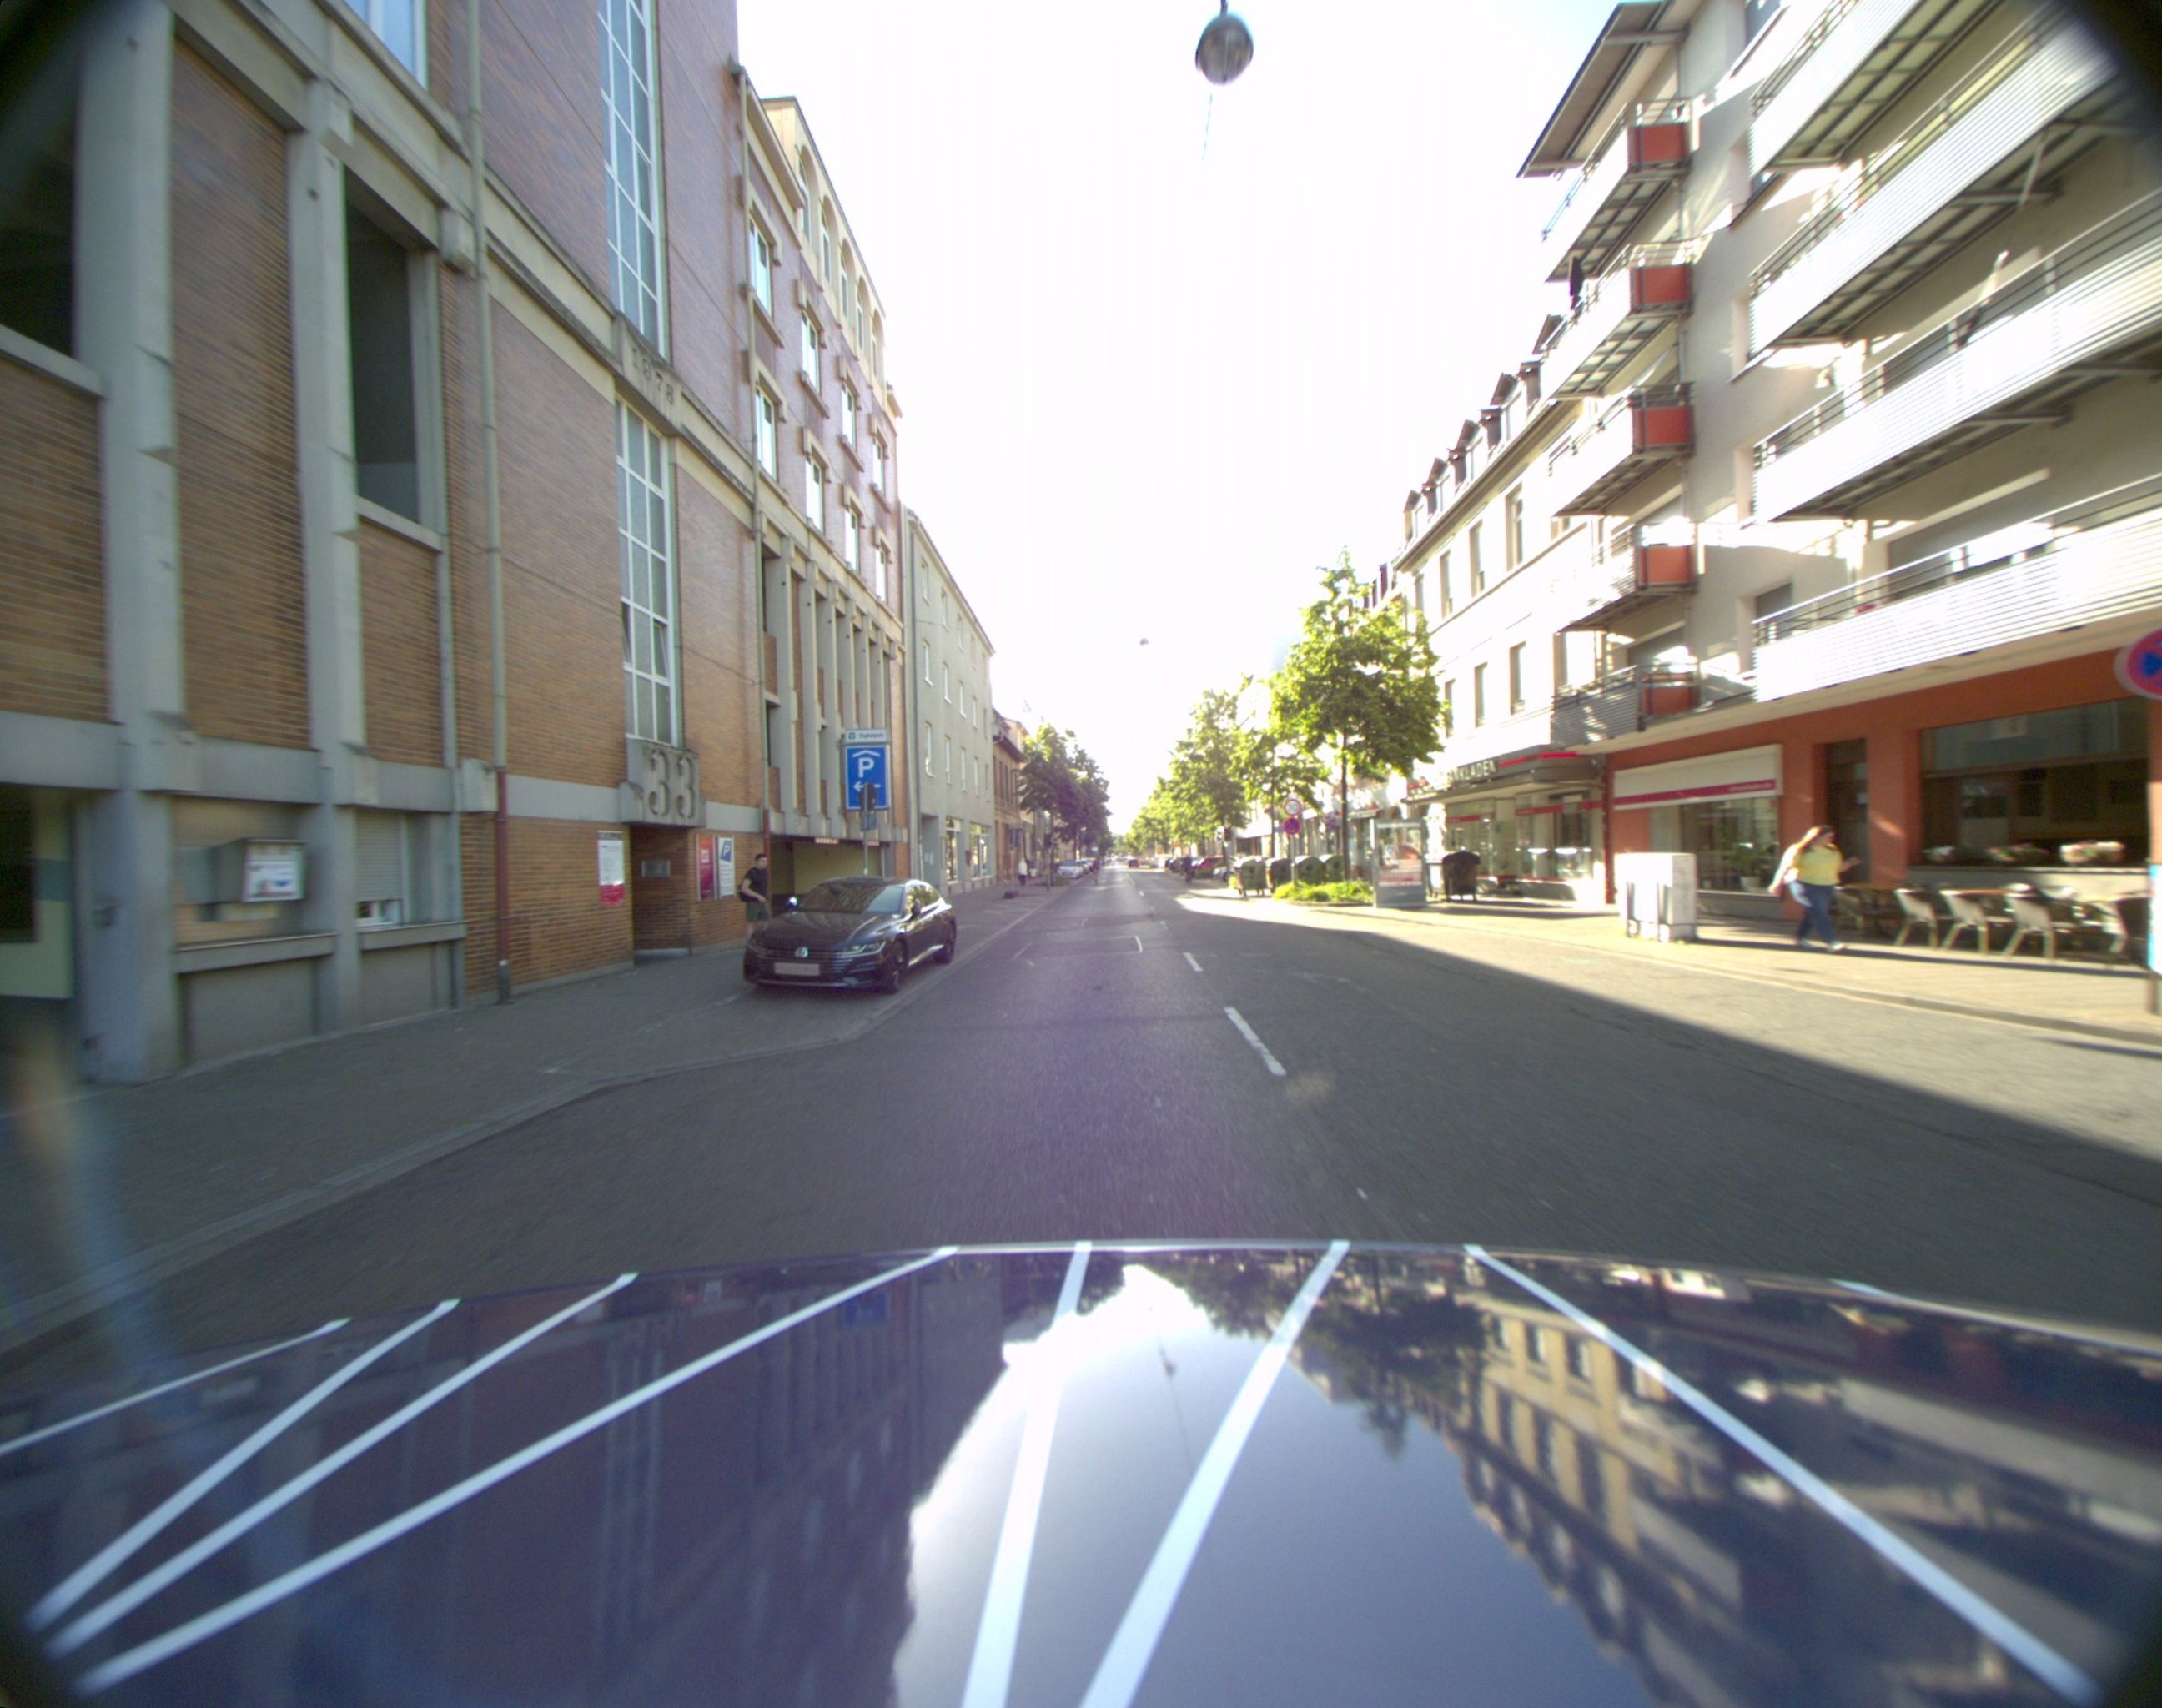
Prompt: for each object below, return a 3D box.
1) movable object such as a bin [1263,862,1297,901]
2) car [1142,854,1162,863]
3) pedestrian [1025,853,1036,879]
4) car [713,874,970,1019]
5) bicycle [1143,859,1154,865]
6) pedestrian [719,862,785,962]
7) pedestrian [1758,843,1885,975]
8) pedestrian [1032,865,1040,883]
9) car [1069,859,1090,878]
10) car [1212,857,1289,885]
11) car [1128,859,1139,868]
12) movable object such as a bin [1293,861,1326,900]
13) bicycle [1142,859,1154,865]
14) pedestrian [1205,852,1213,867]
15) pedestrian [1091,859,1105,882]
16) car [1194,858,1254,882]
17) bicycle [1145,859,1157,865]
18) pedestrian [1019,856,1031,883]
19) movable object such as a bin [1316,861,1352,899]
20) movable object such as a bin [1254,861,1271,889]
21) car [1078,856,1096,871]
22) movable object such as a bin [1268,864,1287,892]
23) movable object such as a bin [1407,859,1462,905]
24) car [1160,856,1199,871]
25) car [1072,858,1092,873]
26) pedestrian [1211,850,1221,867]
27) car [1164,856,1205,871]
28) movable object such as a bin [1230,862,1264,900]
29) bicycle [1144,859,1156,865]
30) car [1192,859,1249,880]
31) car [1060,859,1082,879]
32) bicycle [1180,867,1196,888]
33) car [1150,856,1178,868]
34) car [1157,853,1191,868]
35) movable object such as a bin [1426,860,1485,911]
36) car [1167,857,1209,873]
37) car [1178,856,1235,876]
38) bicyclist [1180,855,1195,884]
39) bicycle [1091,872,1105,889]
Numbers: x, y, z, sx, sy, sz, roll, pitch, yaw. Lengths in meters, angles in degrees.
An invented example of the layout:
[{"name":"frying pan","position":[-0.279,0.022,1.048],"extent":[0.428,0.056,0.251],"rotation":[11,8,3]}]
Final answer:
[{"name":"movable object such as a bin","position":[7.791,1.055,29.845],"extent":[1.044,1.463,1.143],"rotation":[-1,0,2]},{"name":"car","position":[14.947,0.962,159.932],"extent":[4.134,1.670,2.000],"rotation":[-2,0,2]},{"name":"pedestrian","position":[-3.477,0.830,52.503],"extent":[0.624,1.755,0.771],"rotation":[1,0,4]},{"name":"car","position":[-3.107,1.114,11.161],"extent":[1.922,1.470,4.965],"rotation":[2,0,3]},{"name":"bicycle","position":[12.621,1.554,141.563],"extent":[2.006,1.023,0.473],"rotation":[-3,0,-10]},{"name":"pedestrian","position":[-5.573,0.952,12.907],"extent":[0.693,1.626,0.889],"rotation":[1,0,2]},{"name":"pedestrian","position":[9.810,0.696,10.107],"extent":[0.666,1.649,1.037],"rotation":[-1,0,2]},{"name":"pedestrian","position":[-2.666,1.200,45.170],"extent":[0.394,1.027,0.740],"rotation":[2,0,2]},{"name":"car","position":[-0.117,1.228,66.540],"extent":[1.617,1.520,4.235],"rotation":[2,0,2]},{"name":"car","position":[9.967,0.994,44.889],"extent":[4.212,1.459,1.740],"rotation":[-2,0,5]},{"name":"car","position":[8.196,1.481,119.354],"extent":[1.662,1.526,3.761],"rotation":[0,0,3]},{"name":"movable object such as a bin","position":[8.921,1.022,29.684],"extent":[0.966,1.463,1.143],"rotation":[-1,0,2]},{"name":"bicycle","position":[12.516,1.555,142.036],"extent":[2.006,1.023,0.473],"rotation":[-3,0,-10]},{"name":"pedestrian","position":[14.313,0.663,85.016],"extent":[0.566,1.617,0.727],"rotation":[-6,0,1]},{"name":"pedestrian","position":[1.054,1.002,47.448],"extent":[0.803,1.381,0.931],"rotation":[-3,0,1]},{"name":"car","position":[9.810,1.079,52.288],"extent":[3.757,1.459,1.740],"rotation":[-2,0,2]},{"name":"bicycle","position":[12.876,1.498,140.093],"extent":[2.006,1.023,0.473],"rotation":[-3,0,-10]},{"name":"pedestrian","position":[-3.281,0.916,44.445],"extent":[0.582,1.550,1.021],"rotation":[2,0,2]},{"name":"movable object such as a bin","position":[9.931,1.005,29.818],"extent":[1.044,1.463,1.143],"rotation":[-1,0,2]},{"name":"movable object such as a bin","position":[8.814,1.021,36.976],"extent":[0.636,1.333,0.805],"rotation":[-1,0,2]},{"name":"car","position":[0.784,1.167,92.298],"extent":[1.998,1.680,4.517],"rotation":[2,0,2]},{"name":"movable object such as a bin","position":[9.550,1.139,36.955],"extent":[0.756,1.333,0.805],"rotation":[-1,0,2]},{"name":"movable object such as a bin","position":[10.612,0.815,22.874],"extent":[1.044,1.337,1.314],"rotation":[-1,0,2]},{"name":"car","position":[11.489,1.087,88.734],"extent":[4.376,1.561,1.947],"rotation":[-2,0,3]},{"name":"car","position":[0.142,1.145,78.914],"extent":[1.887,1.518,4.234],"rotation":[1,0,2]},{"name":"pedestrian","position":[15.126,0.520,84.974],"extent":[0.776,1.756,0.763],"rotation":[-6,0,1]},{"name":"car","position":[11.632,1.026,85.880],"extent":[4.376,1.561,1.981],"rotation":[-2,0,3]},{"name":"movable object such as a bin","position":[6.571,1.049,30.180],"extent":[1.044,1.463,1.453],"rotation":[-1,0,2]},{"name":"bicycle","position":[12.788,1.500,140.624],"extent":[2.006,1.023,0.473],"rotation":[-3,0,-10]},{"name":"car","position":[10.099,1.109,55.080],"extent":[3.849,1.420,1.790],"rotation":[-2,0,4]},{"name":"car","position":[-0.778,1.187,61.125],"extent":[1.617,1.520,3.061],"rotation":[1,0,2]},{"name":"bicycle","position":[6.079,1.306,43.281],"extent":[0.707,1.140,1.968],"rotation":[-1,0,2]},{"name":"car","position":[12.080,1.169,110.476],"extent":[3.788,1.455,1.710],"rotation":[-2,0,0]},{"name":"car","position":[11.904,0.826,97.636],"extent":[4.115,1.825,2.039],"rotation":[-2,0,3]},{"name":"movable object such as a bin","position":[10.586,0.866,21.536],"extent":[1.044,1.396,1.314],"rotation":[-1,0,2]},{"name":"car","position":[10.506,1.072,74.772],"extent":[3.790,1.450,1.781],"rotation":[-2,0,0]},{"name":"car","position":[10.522,1.024,63.898],"extent":[4.504,1.450,1.790],"rotation":[-3,0,0]},{"name":"bicyclist","position":[6.071,0.887,43.270],"extent":[0.698,1.643,1.036],"rotation":[-1,0,2]},{"name":"bicycle","position":[1.085,1.651,47.449],"extent":[0.805,0.958,1.997],"rotation":[-3,-1,2]}]
